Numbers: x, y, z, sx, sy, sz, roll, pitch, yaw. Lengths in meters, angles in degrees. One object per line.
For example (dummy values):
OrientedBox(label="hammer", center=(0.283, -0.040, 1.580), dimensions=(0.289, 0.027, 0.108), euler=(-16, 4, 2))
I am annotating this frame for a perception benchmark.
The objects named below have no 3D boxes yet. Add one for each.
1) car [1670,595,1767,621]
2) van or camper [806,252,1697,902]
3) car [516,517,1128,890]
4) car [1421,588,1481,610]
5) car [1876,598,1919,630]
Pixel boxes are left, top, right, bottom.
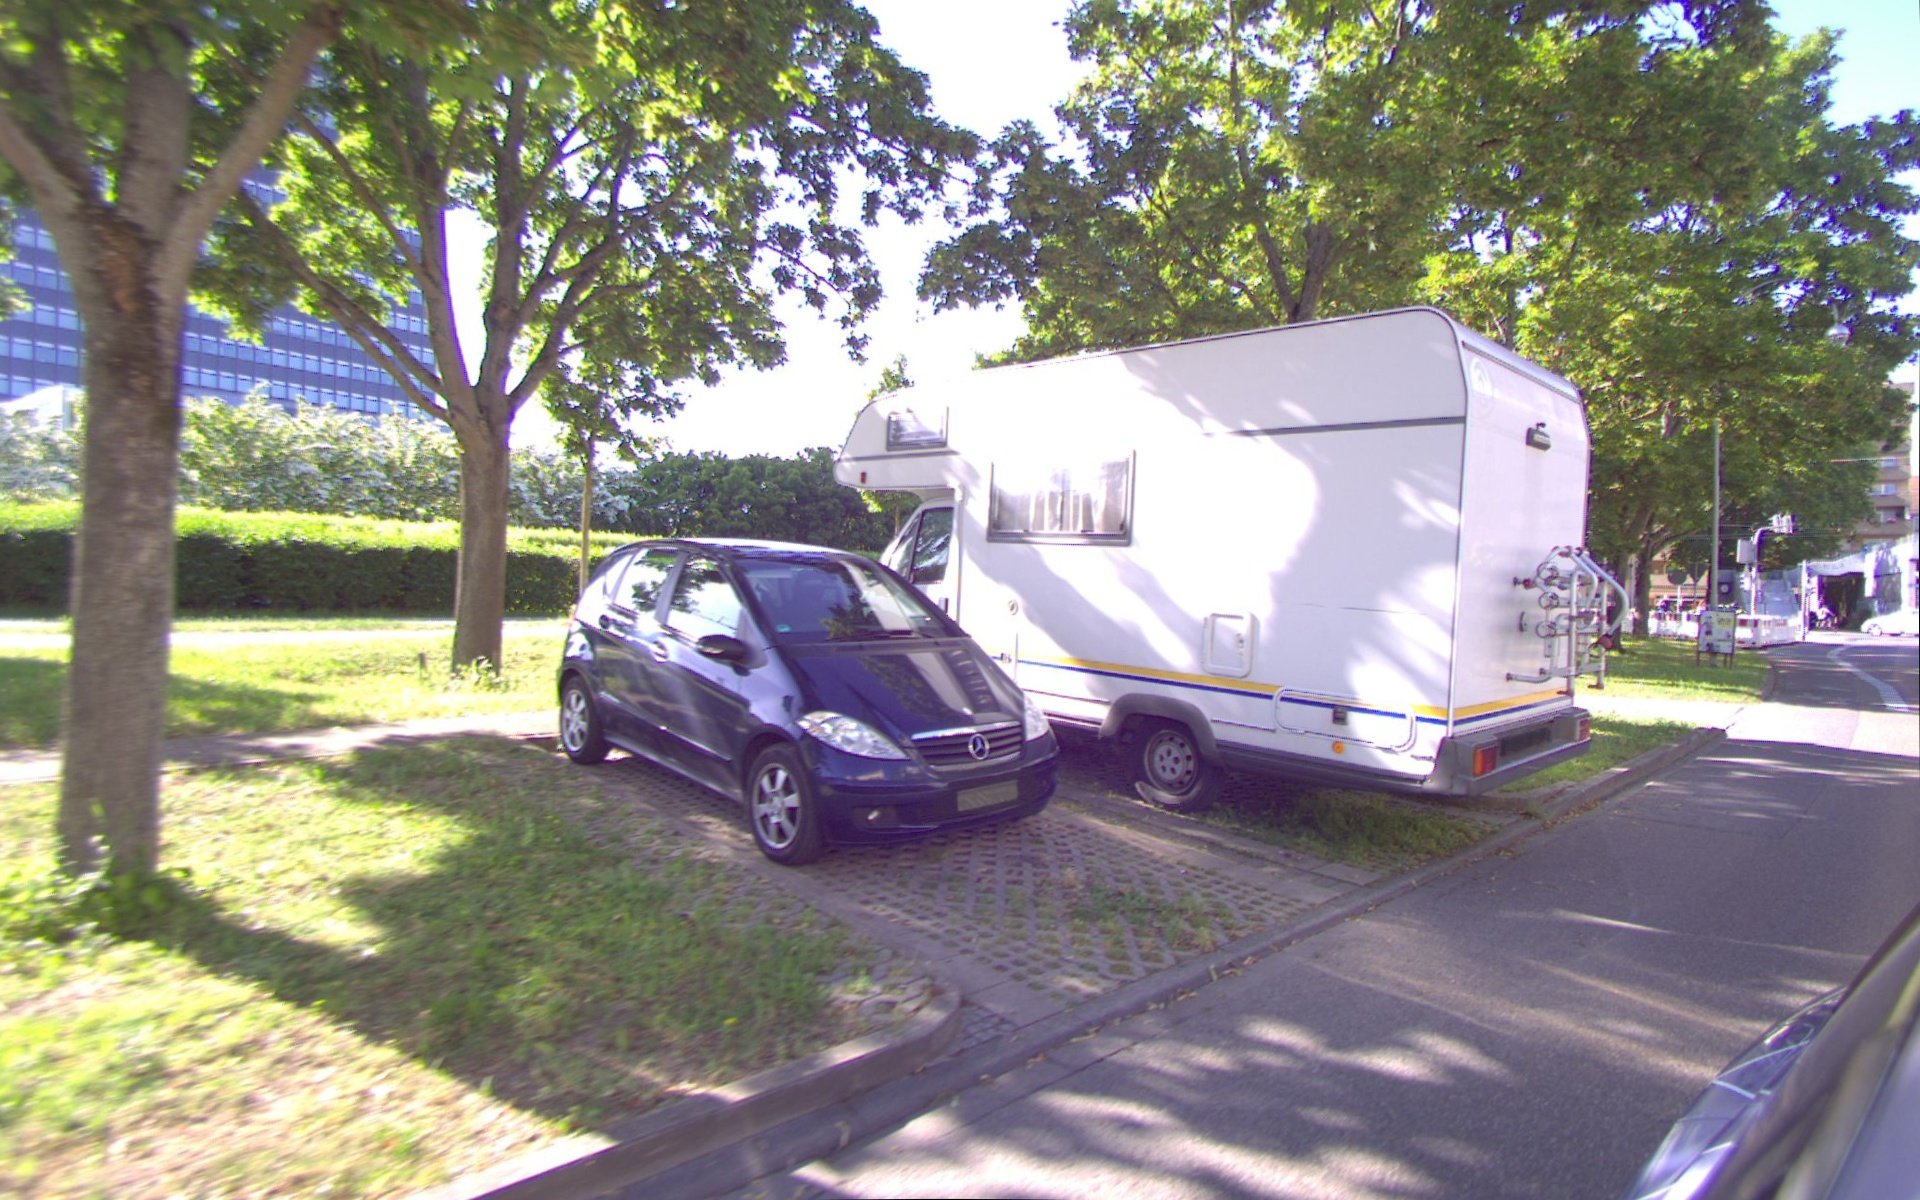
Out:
OrientedBox(label="car", center=(46.264, 0.446, 61.818), dimensions=(1.890, 1.424, 4.328), euler=(1, 1, -26))
OrientedBox(label="van or camper", center=(1.648, -0.309, 7.801), dimensions=(2.626, 3.019, 5.992), euler=(0, 4, -43))
OrientedBox(label="car", center=(-1.169, 0.338, 6.587), dimensions=(1.828, 1.564, 4.155), euler=(0, 4, -44))
OrientedBox(label="car", center=(38.090, -0.088, 78.631), dimensions=(1.892, 1.573, 3.759), euler=(0, 1, -32))
OrientedBox(label="car", center=(50.061, 0.749, 51.940), dimensions=(1.889, 1.573, 4.079), euler=(1, 1, -20))
